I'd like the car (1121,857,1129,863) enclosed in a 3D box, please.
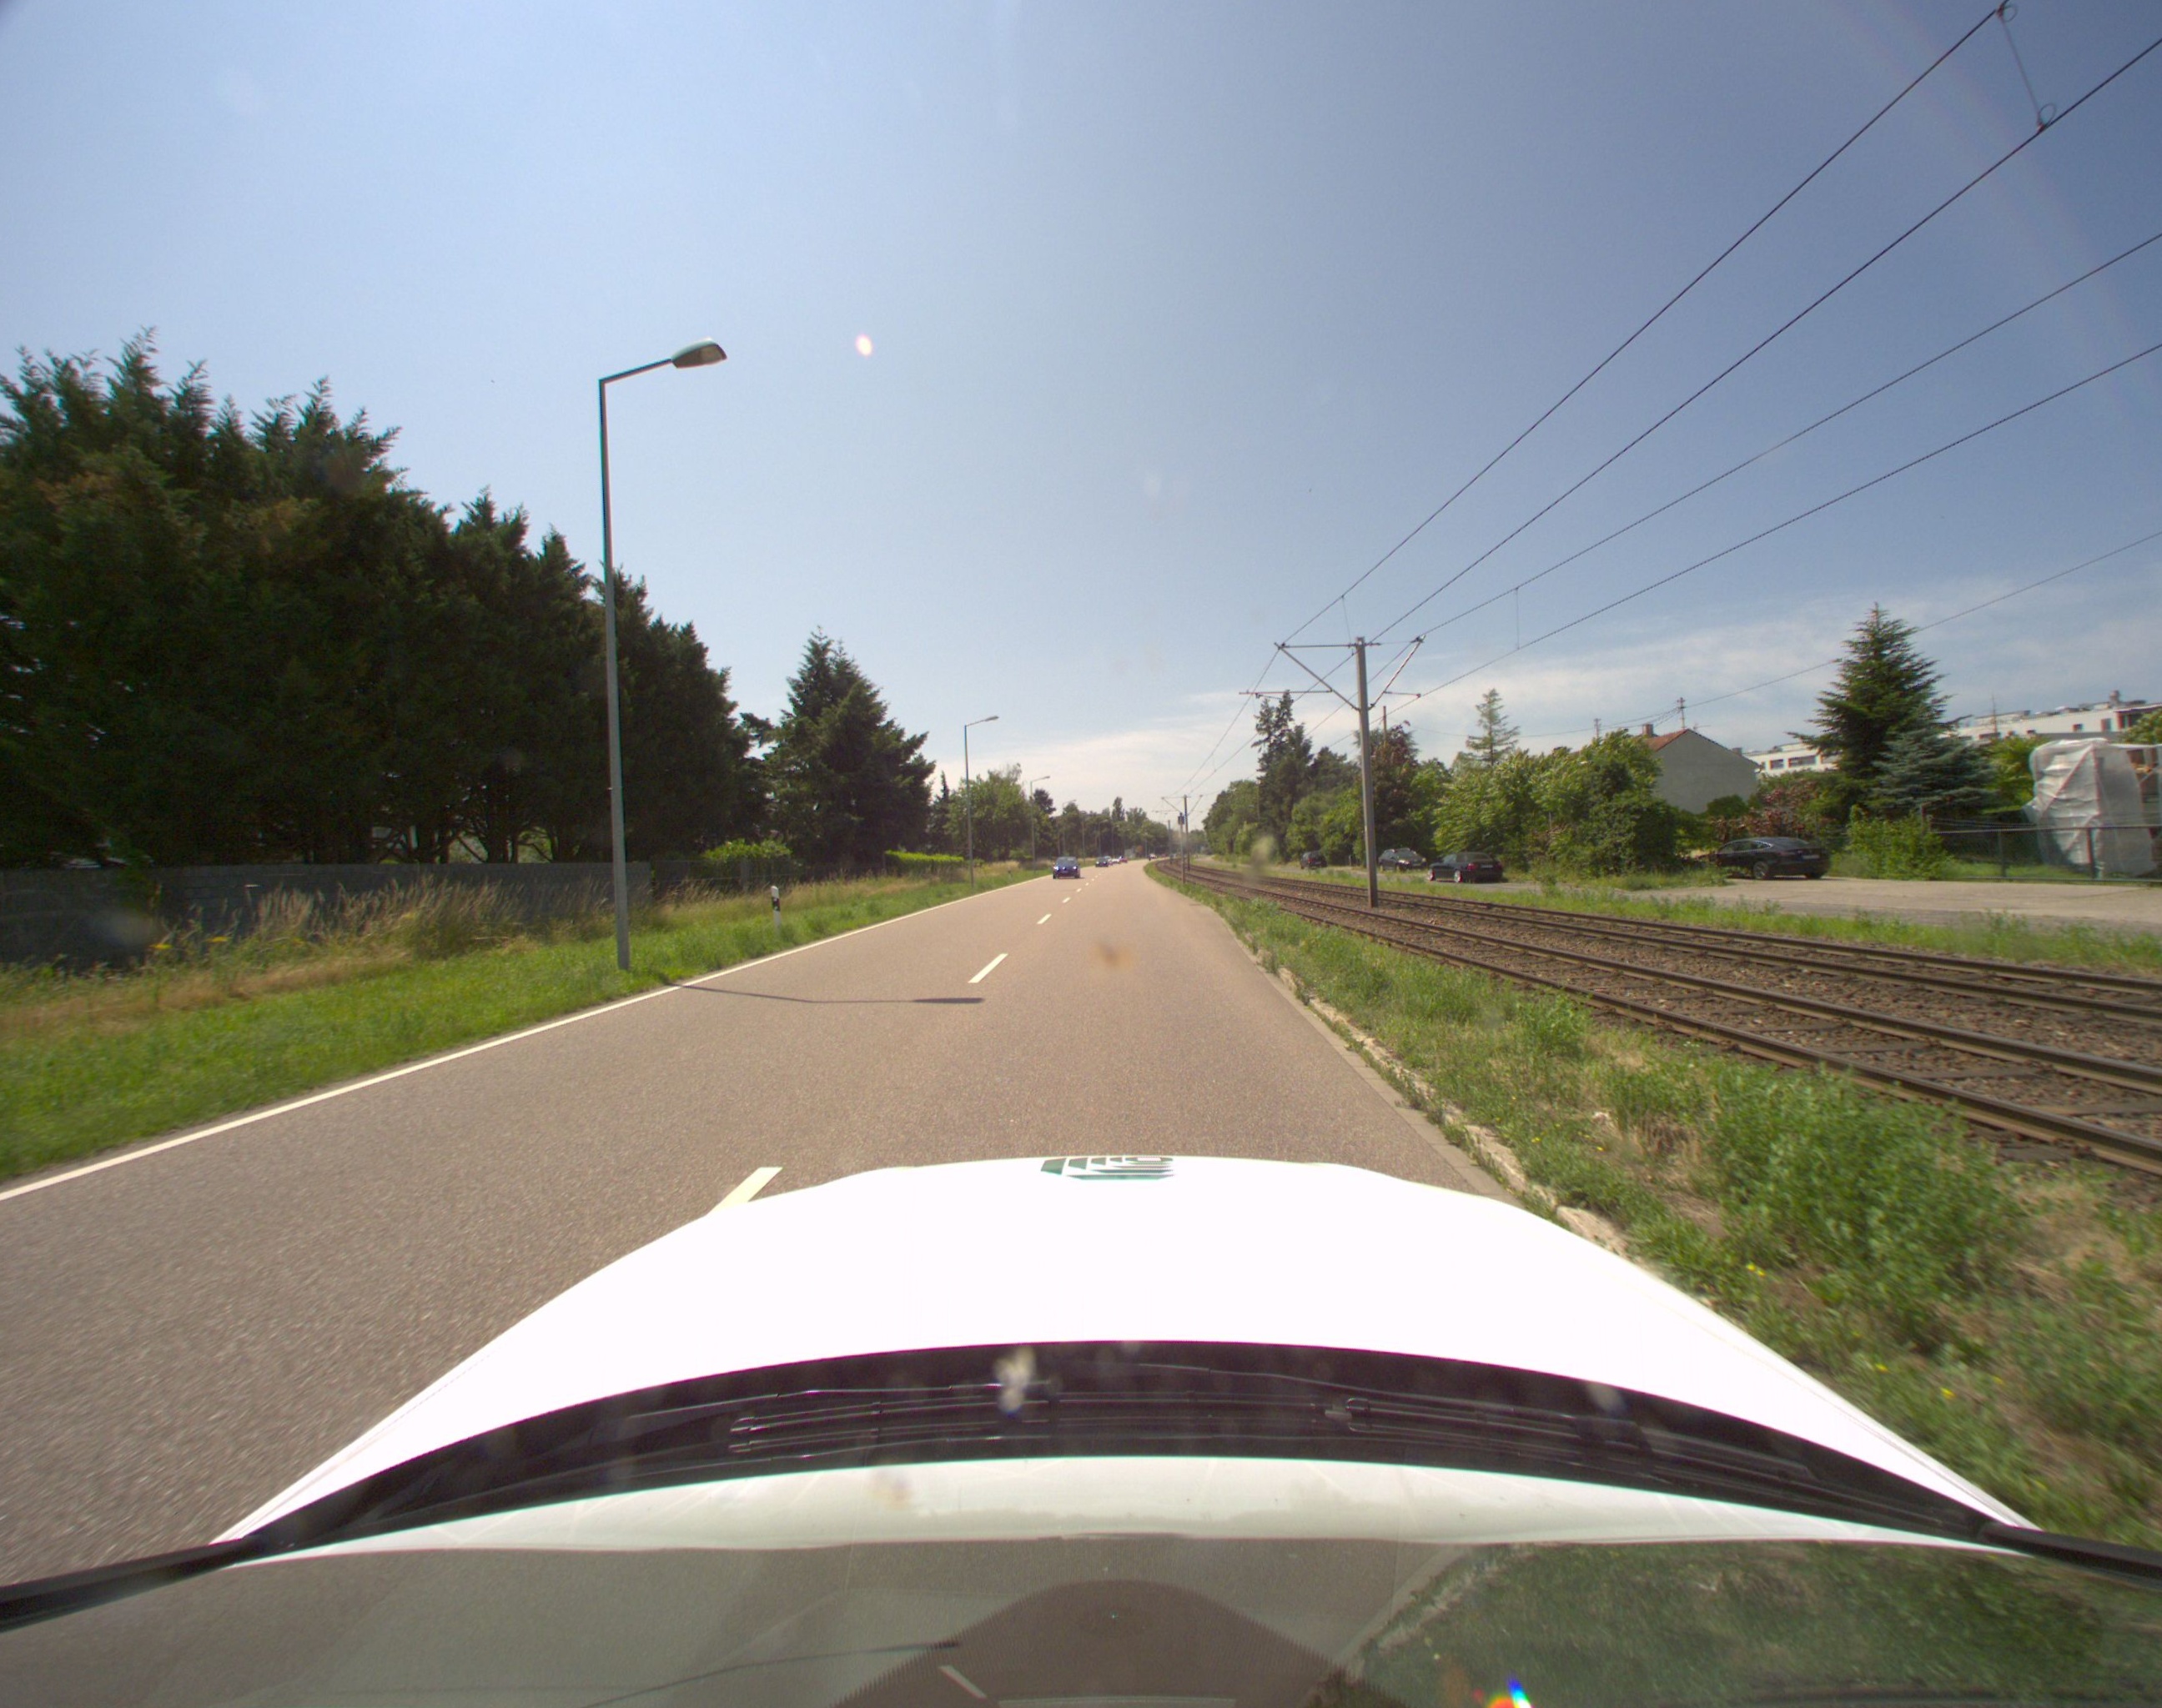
[{"bbox_3d":[9.478,1.357,175.946,1.741,1.301,4.257,-1,-1,4],"label":"car"}]

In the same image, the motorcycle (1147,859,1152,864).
[{"bbox_3d":[17.851,1.972,212.343,0.965,1.117,2.738,-1,-1,8],"label":"motorcycle"}]

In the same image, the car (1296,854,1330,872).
[{"bbox_3d":[19.668,0.745,69.100,1.906,1.470,4.003,-1,-1,3],"label":"car"}]

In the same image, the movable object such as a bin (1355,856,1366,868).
[{"bbox_3d":[22.158,0.601,64.554,0.721,0.937,0.621,-1,-1,3],"label":"movable object such as a bin"}]

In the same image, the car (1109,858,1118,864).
[{"bbox_3d":[6.286,1.380,157.690,1.675,1.249,3.913,-1,-1,4],"label":"car"}]

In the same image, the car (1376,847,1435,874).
[{"bbox_3d":[20.283,0.406,51.160,1.928,1.561,4.556,-1,-1,1],"label":"car"}]

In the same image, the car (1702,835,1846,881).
[{"bbox_3d":[23.329,0.133,27.627,1.714,1.419,3.739,-1,-1,1],"label":"car"}]

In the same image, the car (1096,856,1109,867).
[{"bbox_3d":[3.175,1.134,121.121,1.693,1.491,4.444,-1,-1,3],"label":"car"}]

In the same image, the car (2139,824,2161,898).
[{"bbox_3d":[22.349,0.082,14.787,3.712,1.419,1.900,-1,-1,2],"label":"car"}]

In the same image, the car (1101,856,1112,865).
[{"bbox_3d":[4.420,1.152,138.511,1.739,1.503,3.710,-1,-1,3],"label":"car"}]

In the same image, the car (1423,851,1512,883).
[{"bbox_3d":[17.239,0.569,36.593,1.854,1.330,4.515,-1,-1,1],"label":"car"}]

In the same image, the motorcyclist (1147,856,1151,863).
[{"bbox_3d":[17.817,1.397,212.350,0.887,1.905,1.017,-1,-1,7],"label":"motorcyclist"}]

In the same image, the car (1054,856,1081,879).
[{"bbox_3d":[-0.956,0.973,60.803,1.740,1.632,4.032,-1,-1,2],"label":"car"}]
